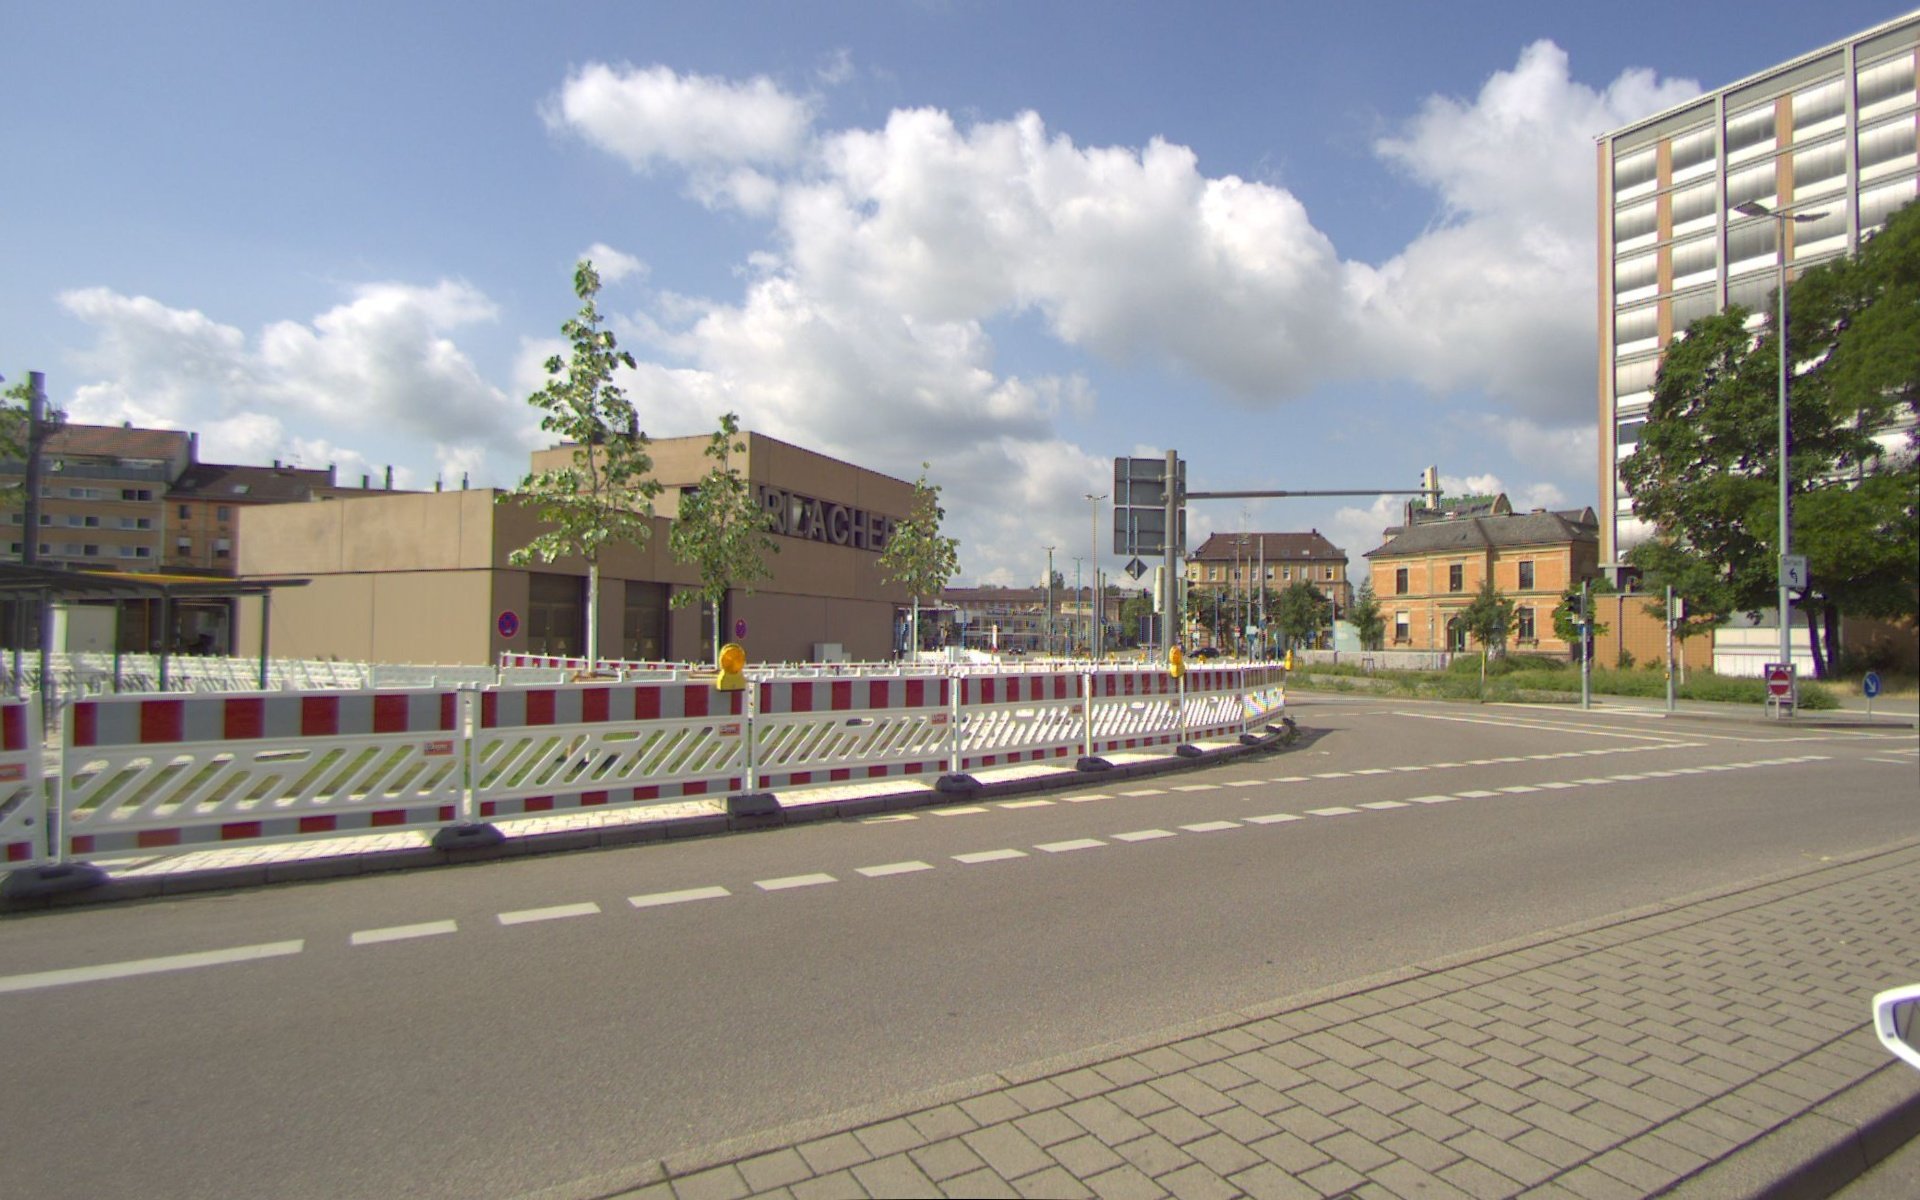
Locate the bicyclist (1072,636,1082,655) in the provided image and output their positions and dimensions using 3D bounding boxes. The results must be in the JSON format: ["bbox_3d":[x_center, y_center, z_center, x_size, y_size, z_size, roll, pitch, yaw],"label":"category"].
[{"bbox_3d":[11.393,4.444,97.574,0.797,1.846,1.160,1,-2,12],"label":"bicyclist"}]

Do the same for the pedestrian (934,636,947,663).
[{"bbox_3d":[-1.256,3.157,63.716,0.724,1.703,0.640,1,-2,-8],"label":"pedestrian"}]

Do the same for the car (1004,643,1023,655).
[{"bbox_3d":[7.346,6.691,137.833,1.959,1.550,4.003,0,-2,11],"label":"car"}]

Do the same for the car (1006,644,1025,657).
[{"bbox_3d":[7.646,6.963,137.668,1.814,1.742,4.003,0,-2,14],"label":"car"}]

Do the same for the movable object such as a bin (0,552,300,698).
[{"bbox_3d":[-23.242,0.683,26.376,2.965,3.468,9.679,0,-2,26],"label":"movable object such as a bin"}]

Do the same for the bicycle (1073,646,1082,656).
[{"bbox_3d":[11.452,4.981,97.807,0.606,1.015,2.020,1,-3,12],"label":"bicycle"}]
